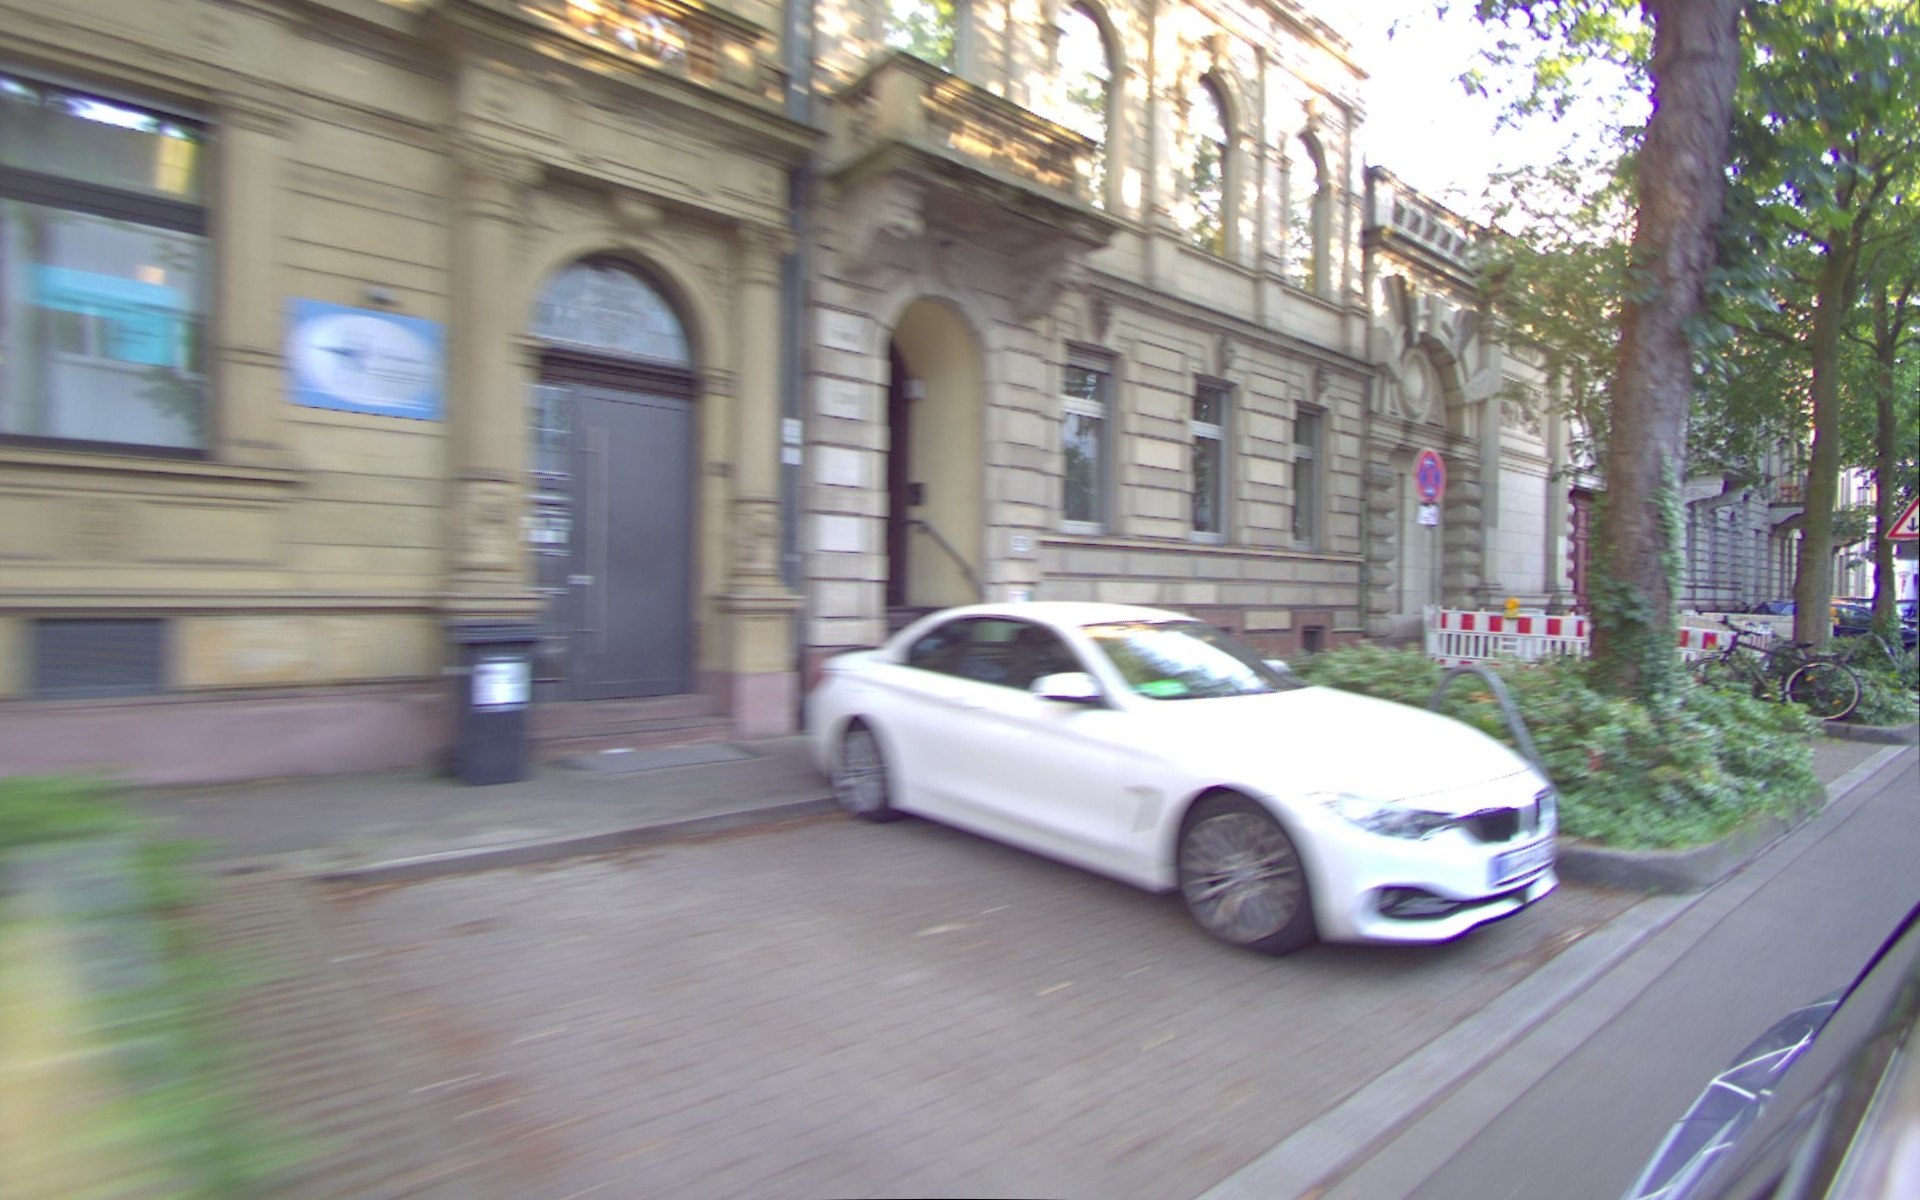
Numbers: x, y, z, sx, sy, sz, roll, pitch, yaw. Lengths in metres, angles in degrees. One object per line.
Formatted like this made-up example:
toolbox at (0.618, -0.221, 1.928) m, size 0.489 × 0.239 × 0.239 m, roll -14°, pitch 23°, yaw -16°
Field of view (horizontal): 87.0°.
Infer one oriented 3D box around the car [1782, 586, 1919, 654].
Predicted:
car at (24.796, 0.528, 27.128) m, size 1.734 × 1.708 × 4.015 m, roll 1°, pitch 1°, yaw -40°

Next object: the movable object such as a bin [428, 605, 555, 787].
movable object such as a bin at (-3.077, 0.591, 6.636) m, size 0.604 × 1.077 × 0.659 m, roll -1°, pitch 2°, yaw -41°

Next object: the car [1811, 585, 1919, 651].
car at (26.934, 0.521, 28.367) m, size 1.934 × 1.739 × 4.449 m, roll -1°, pitch 3°, yaw -40°

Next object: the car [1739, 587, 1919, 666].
car at (20.213, 0.578, 22.525) m, size 1.822 × 1.499 × 4.234 m, roll 0°, pitch 3°, yaw -40°

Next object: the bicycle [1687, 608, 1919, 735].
bicycle at (9.849, 0.787, 11.896) m, size 0.499 × 1.378 × 2.048 m, roll 1°, pitch -1°, yaw -42°

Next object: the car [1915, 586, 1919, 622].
car at (44.777, 0.353, 43.935) m, size 1.830 × 1.580 × 4.431 m, roll 1°, pitch 3°, yaw -33°

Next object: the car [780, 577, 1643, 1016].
car at (0.925, 0.620, 5.788) m, size 1.890 × 1.455 × 4.595 m, roll 0°, pitch 1°, yaw -39°
